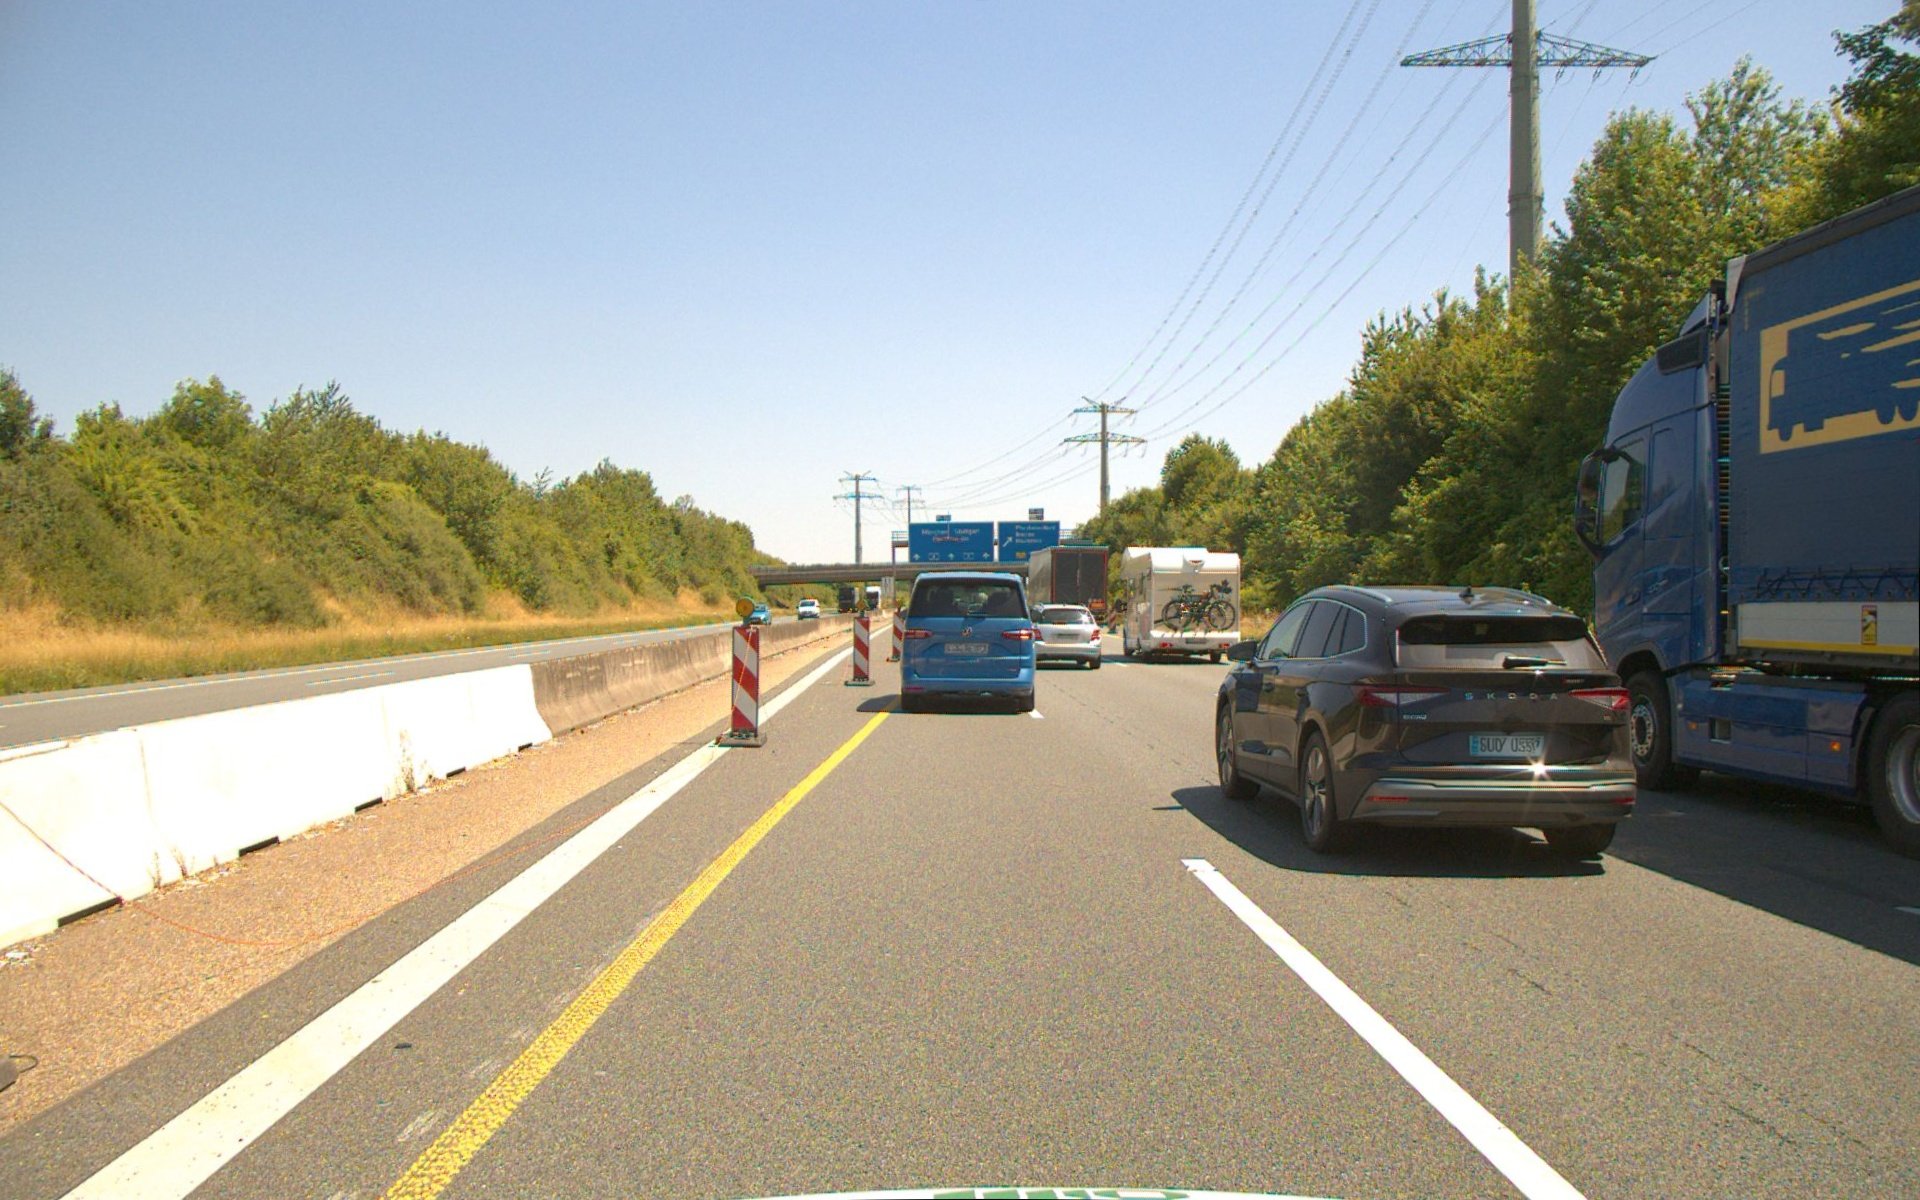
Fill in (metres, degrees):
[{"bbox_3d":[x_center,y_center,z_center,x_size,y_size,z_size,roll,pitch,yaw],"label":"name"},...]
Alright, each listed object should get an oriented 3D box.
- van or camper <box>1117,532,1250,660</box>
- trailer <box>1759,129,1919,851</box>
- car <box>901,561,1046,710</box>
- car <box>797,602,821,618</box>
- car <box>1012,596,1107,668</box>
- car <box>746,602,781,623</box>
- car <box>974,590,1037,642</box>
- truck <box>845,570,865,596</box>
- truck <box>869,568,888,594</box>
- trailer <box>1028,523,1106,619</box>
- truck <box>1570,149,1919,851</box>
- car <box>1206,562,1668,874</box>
[{"bbox_3d":[5.850,-0.079,44.382,2.321,3.097,7.630,1,0,-1],"label":"van or camper"},{"bbox_3d":[7.252,-0.657,5.348,2.711,4.338,12.873,1,0,-2],"label":"trailer"},{"bbox_3d":[0.103,0.476,24.054,1.837,1.945,4.357,1,0,-3],"label":"car"},{"bbox_3d":[-14.373,0.926,157.755,1.953,1.422,4.000,-2,0,0],"label":"car"},{"bbox_3d":[2.270,0.711,38.630,1.735,1.544,4.357,1,0,-3],"label":"car"},{"bbox_3d":[-13.673,0.855,115.277,1.953,1.422,4.000,-2,0,0],"label":"car"},{"bbox_3d":[1.547,0.546,57.420,1.837,1.700,4.357,1,0,-3],"label":"car"},{"bbox_3d":[-16.587,-2.703,261.604,2.666,3.987,6.777,1,0,0],"label":"truck"},{"bbox_3d":[-12.899,-2.941,261.792,2.666,3.987,6.777,1,0,0],"label":"truck"},{"bbox_3d":[4.968,-1.246,78.862,2.726,4.118,13.110,1,0,0],"label":"trailer"},{"bbox_3d":[7.052,-0.581,12.373,2.729,4.217,5.635,1,0,-2],"label":"truck"},{"bbox_3d":[2.948,0.655,11.267,1.667,1.684,4.427,1,0,-3],"label":"car"}]
